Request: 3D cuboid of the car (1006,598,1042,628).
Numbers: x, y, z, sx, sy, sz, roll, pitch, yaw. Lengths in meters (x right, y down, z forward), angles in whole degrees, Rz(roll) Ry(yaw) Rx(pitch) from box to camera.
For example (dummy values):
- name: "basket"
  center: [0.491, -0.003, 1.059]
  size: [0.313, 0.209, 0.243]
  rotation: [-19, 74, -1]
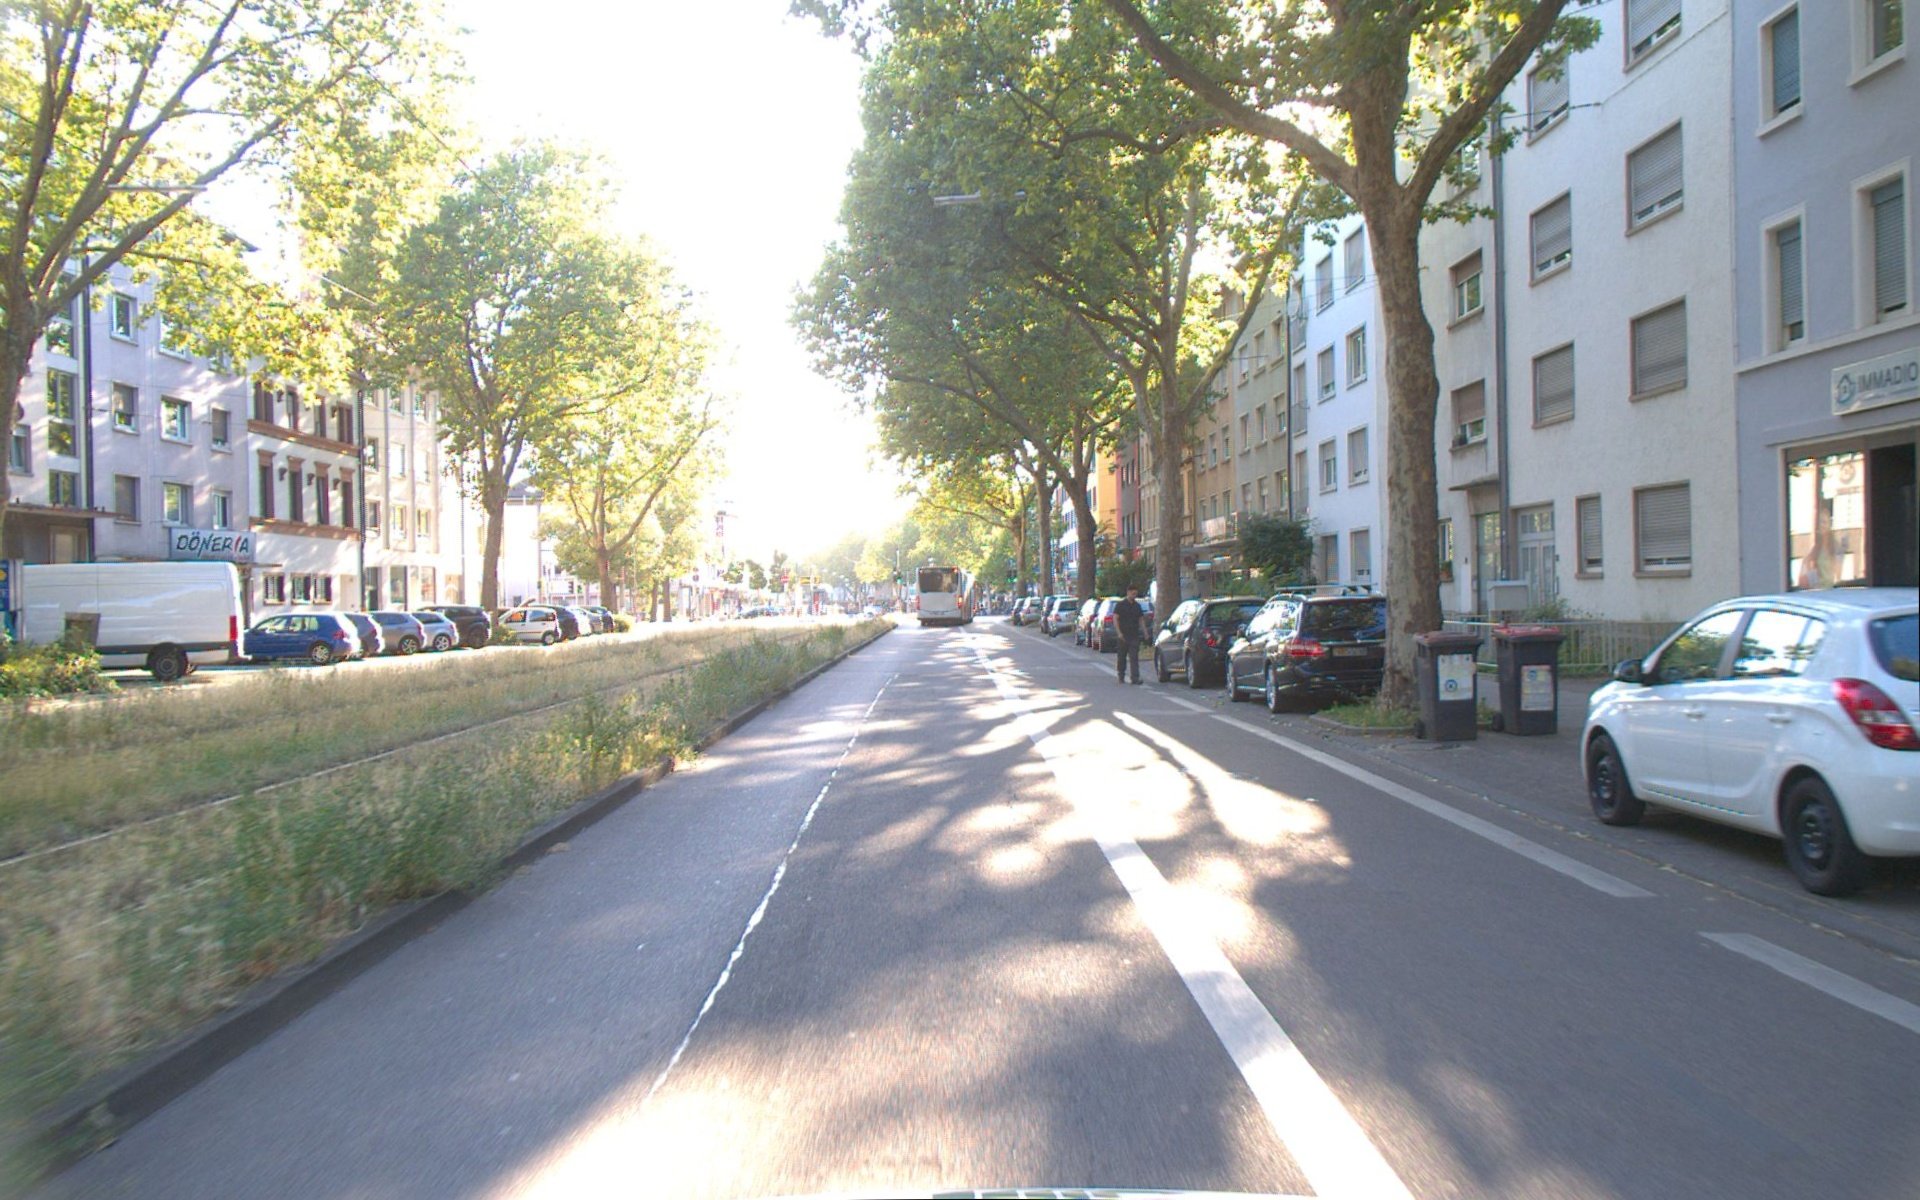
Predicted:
- name: "car"
  center: [3.572, 0.715, 92.275]
  size: [1.745, 1.542, 3.999]
  rotation: [-2, 0, -1]

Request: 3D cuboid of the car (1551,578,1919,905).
- name: "car"
  center: [5.087, 0.645, 9.800]
  size: [1.612, 1.512, 3.999]
  rotation: [-2, 0, -2]

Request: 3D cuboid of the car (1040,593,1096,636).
- name: "car"
  center: [4.095, 0.517, 63.270]
  size: [1.745, 1.542, 3.999]
  rotation: [-2, 0, -1]

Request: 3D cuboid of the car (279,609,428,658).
- name: "car"
  center: [-19.919, 1.084, 54.405]
  size: [4.275, 1.483, 1.830]
  rotation: [-1, -1, -42]

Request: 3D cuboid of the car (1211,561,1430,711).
- name: "car"
  center: [4.806, 0.466, 22.786]
  size: [1.709, 1.801, 4.986]
  rotation: [-1, -1, -2]

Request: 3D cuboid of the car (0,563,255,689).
- name: "car"
  center: [-20.000, 0.587, 38.073]
  size: [6.841, 2.725, 2.171]
  rotation: [-1, -1, -22]

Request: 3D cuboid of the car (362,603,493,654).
- name: "car"
  center: [-19.705, 1.054, 61.281]
  size: [4.275, 1.768, 1.830]
  rotation: [-1, -1, -42]

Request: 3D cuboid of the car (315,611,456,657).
- name: "car"
  center: [-19.917, 1.161, 57.455]
  size: [4.275, 1.483, 1.830]
  rotation: [-1, -1, -42]

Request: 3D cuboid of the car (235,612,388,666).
- name: "car"
  center: [-19.756, 1.169, 50.417]
  size: [4.241, 1.483, 1.845]
  rotation: [-1, -1, -24]

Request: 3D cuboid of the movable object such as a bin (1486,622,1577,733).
- name: "movable object such as a bin"
  center: [5.823, 0.778, 16.892]
  size: [0.597, 1.066, 0.847]
  rotation: [-2, 0, -1]

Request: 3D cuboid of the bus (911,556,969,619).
- name: "bus"
  center: [-1.174, -0.633, 91.847]
  size: [2.777, 3.292, 8.176]
  rotation: [-1, -1, -4]

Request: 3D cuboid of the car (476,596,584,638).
- name: "car"
  center: [-18.975, 0.736, 73.159]
  size: [4.275, 1.768, 1.830]
  rotation: [-1, -1, -42]

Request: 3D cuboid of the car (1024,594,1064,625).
- name: "car"
  center: [4.333, 0.467, 86.000]
  size: [1.745, 1.542, 3.999]
  rotation: [-2, 0, -1]

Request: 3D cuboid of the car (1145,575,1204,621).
- name: "car"
  center: [9.156, -0.065, 70.842]
  size: [1.845, 1.892, 4.324]
  rotation: [-1, -1, -1]

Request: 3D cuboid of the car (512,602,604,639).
- name: "car"
  center: [-20.768, 1.054, 85.479]
  size: [4.275, 1.768, 1.830]
  rotation: [-1, -1, -42]

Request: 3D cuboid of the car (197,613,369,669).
- name: "car"
  center: [-19.511, 1.166, 47.841]
  size: [4.216, 1.483, 1.856]
  rotation: [-1, -1, -7]

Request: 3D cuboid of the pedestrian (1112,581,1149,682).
- name: "pedestrian"
  center: [3.118, 0.563, 30.236]
  size: [0.565, 1.811, 0.514]
  rotation: [-2, 0, -1]

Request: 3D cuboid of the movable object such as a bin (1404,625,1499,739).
- name: "movable object such as a bin"
  center: [4.958, 0.816, 16.726]
  size: [0.660, 1.064, 0.879]
  rotation: [-2, 1, -1]

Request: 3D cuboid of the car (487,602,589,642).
- name: "car"
  center: [-19.596, 0.999, 76.877]
  size: [4.275, 1.768, 1.830]
  rotation: [-1, -1, -42]

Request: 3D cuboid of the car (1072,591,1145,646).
- name: "car"
  center: [4.488, 0.534, 50.410]
  size: [1.745, 1.542, 3.999]
  rotation: [-2, 0, -1]

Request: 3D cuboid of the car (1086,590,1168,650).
- name: "car"
  center: [4.528, 0.516, 45.423]
  size: [1.745, 1.542, 3.999]
  rotation: [-2, 0, -1]

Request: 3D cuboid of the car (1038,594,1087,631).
- name: "car"
  center: [4.433, 0.518, 71.923]
  size: [1.745, 1.542, 3.999]
  rotation: [-2, 0, -1]

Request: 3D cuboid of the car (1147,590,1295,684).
- name: "car"
  center: [4.575, 0.639, 29.495]
  size: [1.653, 1.512, 3.995]
  rotation: [-1, -1, -5]

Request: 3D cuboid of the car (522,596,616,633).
- name: "car"
  center: [-19.717, 0.721, 83.420]
  size: [4.275, 1.768, 1.830]
  rotation: [-1, -1, -42]
